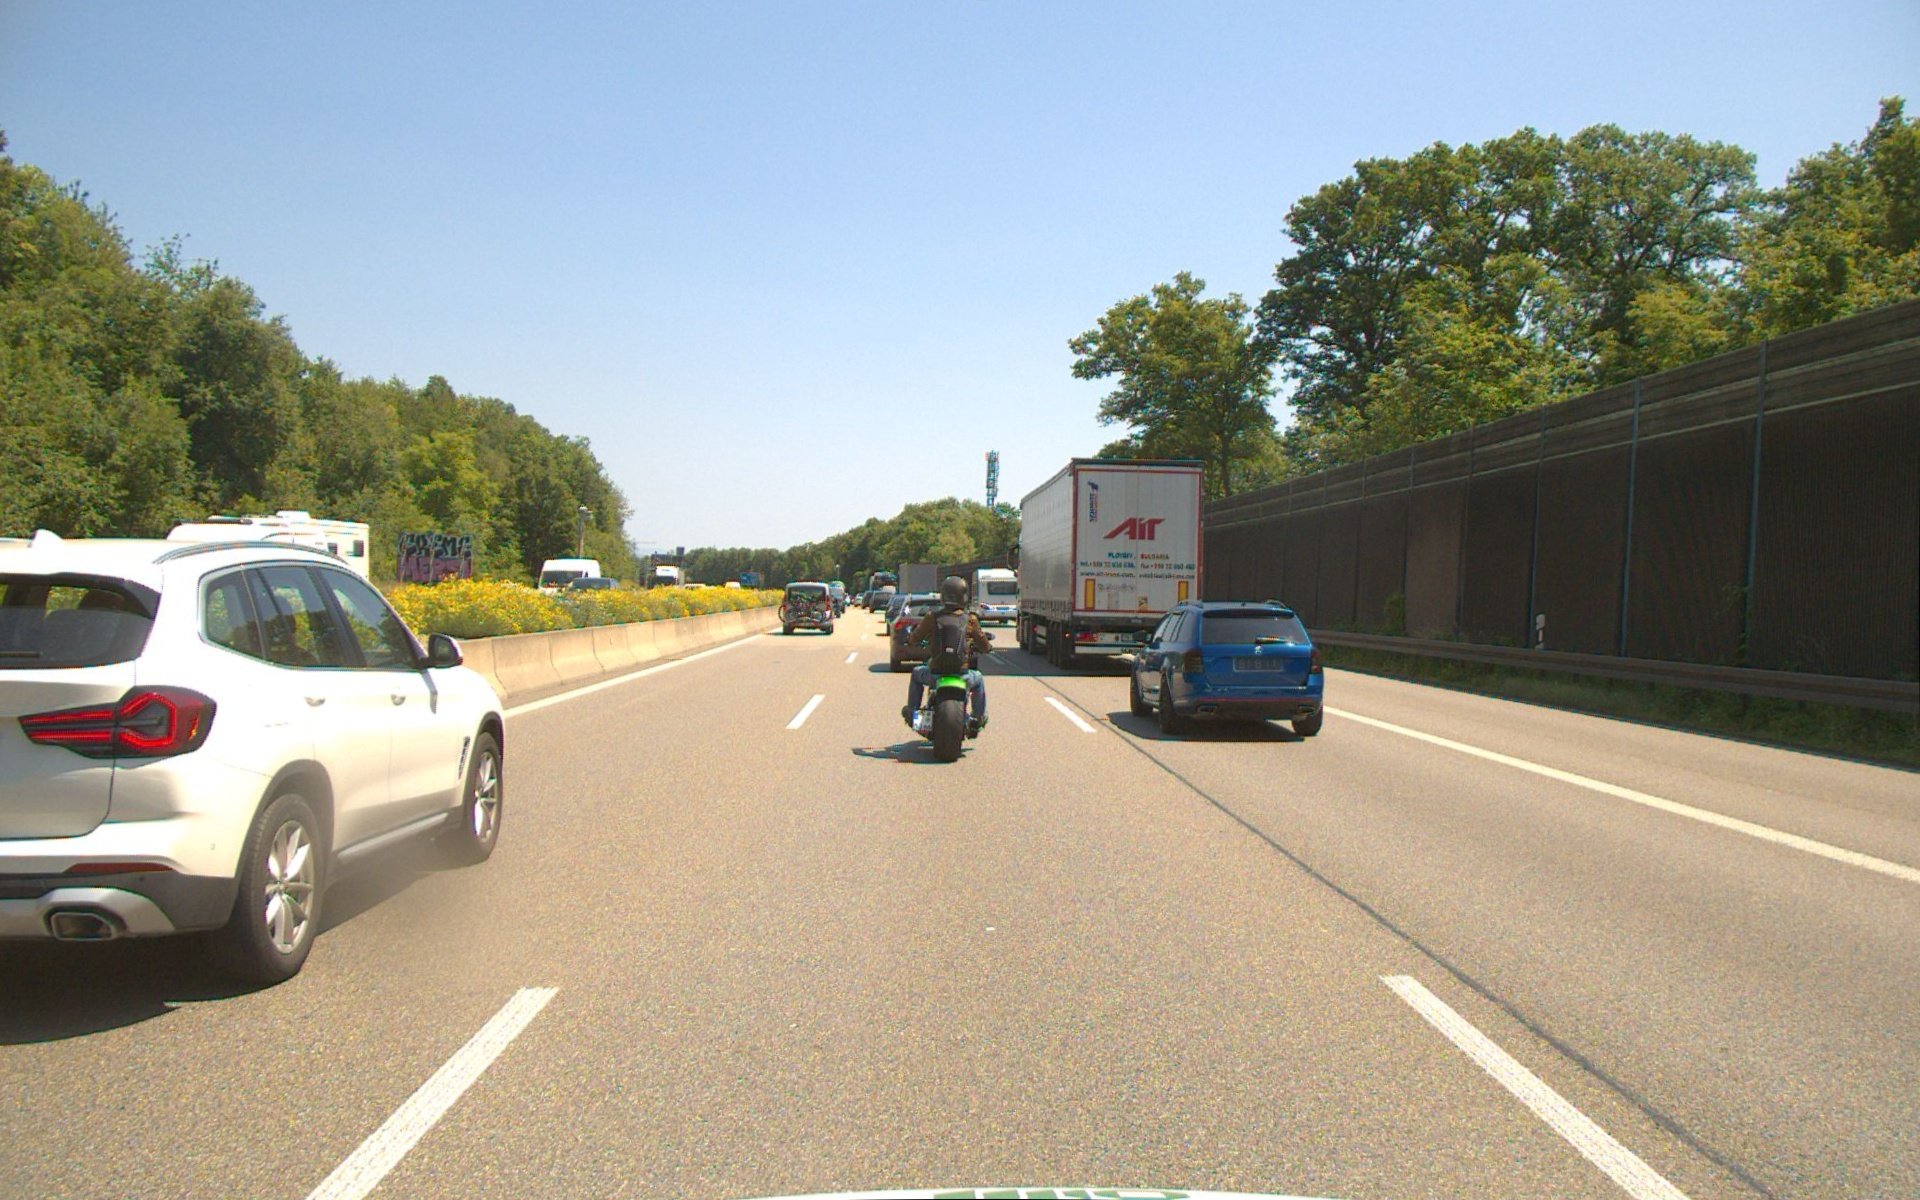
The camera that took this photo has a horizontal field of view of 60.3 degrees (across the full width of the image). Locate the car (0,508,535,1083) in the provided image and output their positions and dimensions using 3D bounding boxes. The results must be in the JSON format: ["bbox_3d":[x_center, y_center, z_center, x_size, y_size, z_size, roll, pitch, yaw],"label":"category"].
[{"bbox_3d":[-3.423,0.587,7.425,1.826,1.724,4.954,0,0,-1],"label":"car"}]

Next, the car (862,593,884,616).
[{"bbox_3d":[-7.962,0.400,151.556,1.874,2.049,3.686,1,-1,-6],"label":"car"}]

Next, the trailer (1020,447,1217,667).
[{"bbox_3d":[3.245,-0.809,38.065,2.827,4.109,13.790,1,0,-2],"label":"trailer"}]

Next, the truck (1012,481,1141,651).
[{"bbox_3d":[3.034,-0.852,44.530,2.828,4.218,5.983,1,0,-2],"label":"truck"}]

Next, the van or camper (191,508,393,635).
[{"bbox_3d":[-19.326,-0.681,48.544,2.488,3.376,8.998,0,-1,-2],"label":"van or camper"}]

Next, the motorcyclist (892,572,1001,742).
[{"bbox_3d":[-0.099,0.522,15.617,0.881,1.501,1.873,0,-1,4],"label":"motorcyclist"}]

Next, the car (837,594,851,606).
[{"bbox_3d":[-15.344,0.032,218.874,1.796,1.522,3.739,1,-1,-5],"label":"car"}]

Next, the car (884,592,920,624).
[{"bbox_3d":[-2.966,0.397,84.941,1.743,1.579,3.584,1,0,0],"label":"car"}]

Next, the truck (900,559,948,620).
[{"bbox_3d":[-3.206,-0.827,144.541,3.728,5.047,8.942,1,-1,-4],"label":"truck"}]

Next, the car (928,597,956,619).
[{"bbox_3d":[-1.377,0.592,125.902,1.954,1.601,3.997,1,-1,-3],"label":"car"}]

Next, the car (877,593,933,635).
[{"bbox_3d":[-1.978,0.526,59.906,1.953,1.455,3.846,0,-1,-1],"label":"car"}]

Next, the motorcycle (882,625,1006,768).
[{"bbox_3d":[-0.097,0.847,15.597,0.944,1.168,2.813,1,0,4],"label":"motorcycle"}]

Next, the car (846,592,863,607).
[{"bbox_3d":[-11.270,-0.045,176.825,1.796,1.522,3.741,1,-1,-3],"label":"car"}]

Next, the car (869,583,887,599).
[{"bbox_3d":[-9.998,-1.092,200.424,2.066,1.909,3.996,1,-1,-5],"label":"car"}]

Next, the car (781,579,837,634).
[{"bbox_3d":[-5.412,0.261,59.724,1.861,1.906,4.409,1,-1,-3],"label":"car"}]

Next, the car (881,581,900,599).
[{"bbox_3d":[-8.197,-1.171,195.285,2.067,1.909,3.995,1,-1,-5],"label":"car"}]

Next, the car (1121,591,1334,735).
[{"bbox_3d":[3.040,0.704,19.648,1.617,1.509,4.479,1,-1,-3],"label":"car"}]

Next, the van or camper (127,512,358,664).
[{"bbox_3d":[-15.210,-0.229,35.593,2.212,2.950,6.555,0,0,-1],"label":"van or camper"}]

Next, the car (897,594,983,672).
[{"bbox_3d":[-0.461,0.670,33.462,1.629,1.478,3.867,1,-1,-2],"label":"car"}]

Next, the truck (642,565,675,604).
[{"bbox_3d":[-33.967,-1.745,186.444,2.906,4.179,6.082,1,-1,-4],"label":"truck"}]

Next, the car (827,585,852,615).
[{"bbox_3d":[-8.776,0.015,120.301,1.756,2.049,3.639,1,-1,-4],"label":"car"}]

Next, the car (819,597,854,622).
[{"bbox_3d":[-7.333,0.588,98.373,1.954,1.411,3.997,1,-1,-3],"label":"car"}]

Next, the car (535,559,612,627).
[{"bbox_3d":[-16.700,-0.300,71.686,2.156,2.789,5.744,1,0,-2],"label":"car"}]

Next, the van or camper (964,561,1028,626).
[{"bbox_3d":[1.635,-0.239,78.124,2.631,2.862,6.799,1,-1,-2],"label":"van or camper"}]

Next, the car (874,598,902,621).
[{"bbox_3d":[-5.286,0.711,121.437,1.954,1.669,3.996,1,-1,-4],"label":"car"}]
